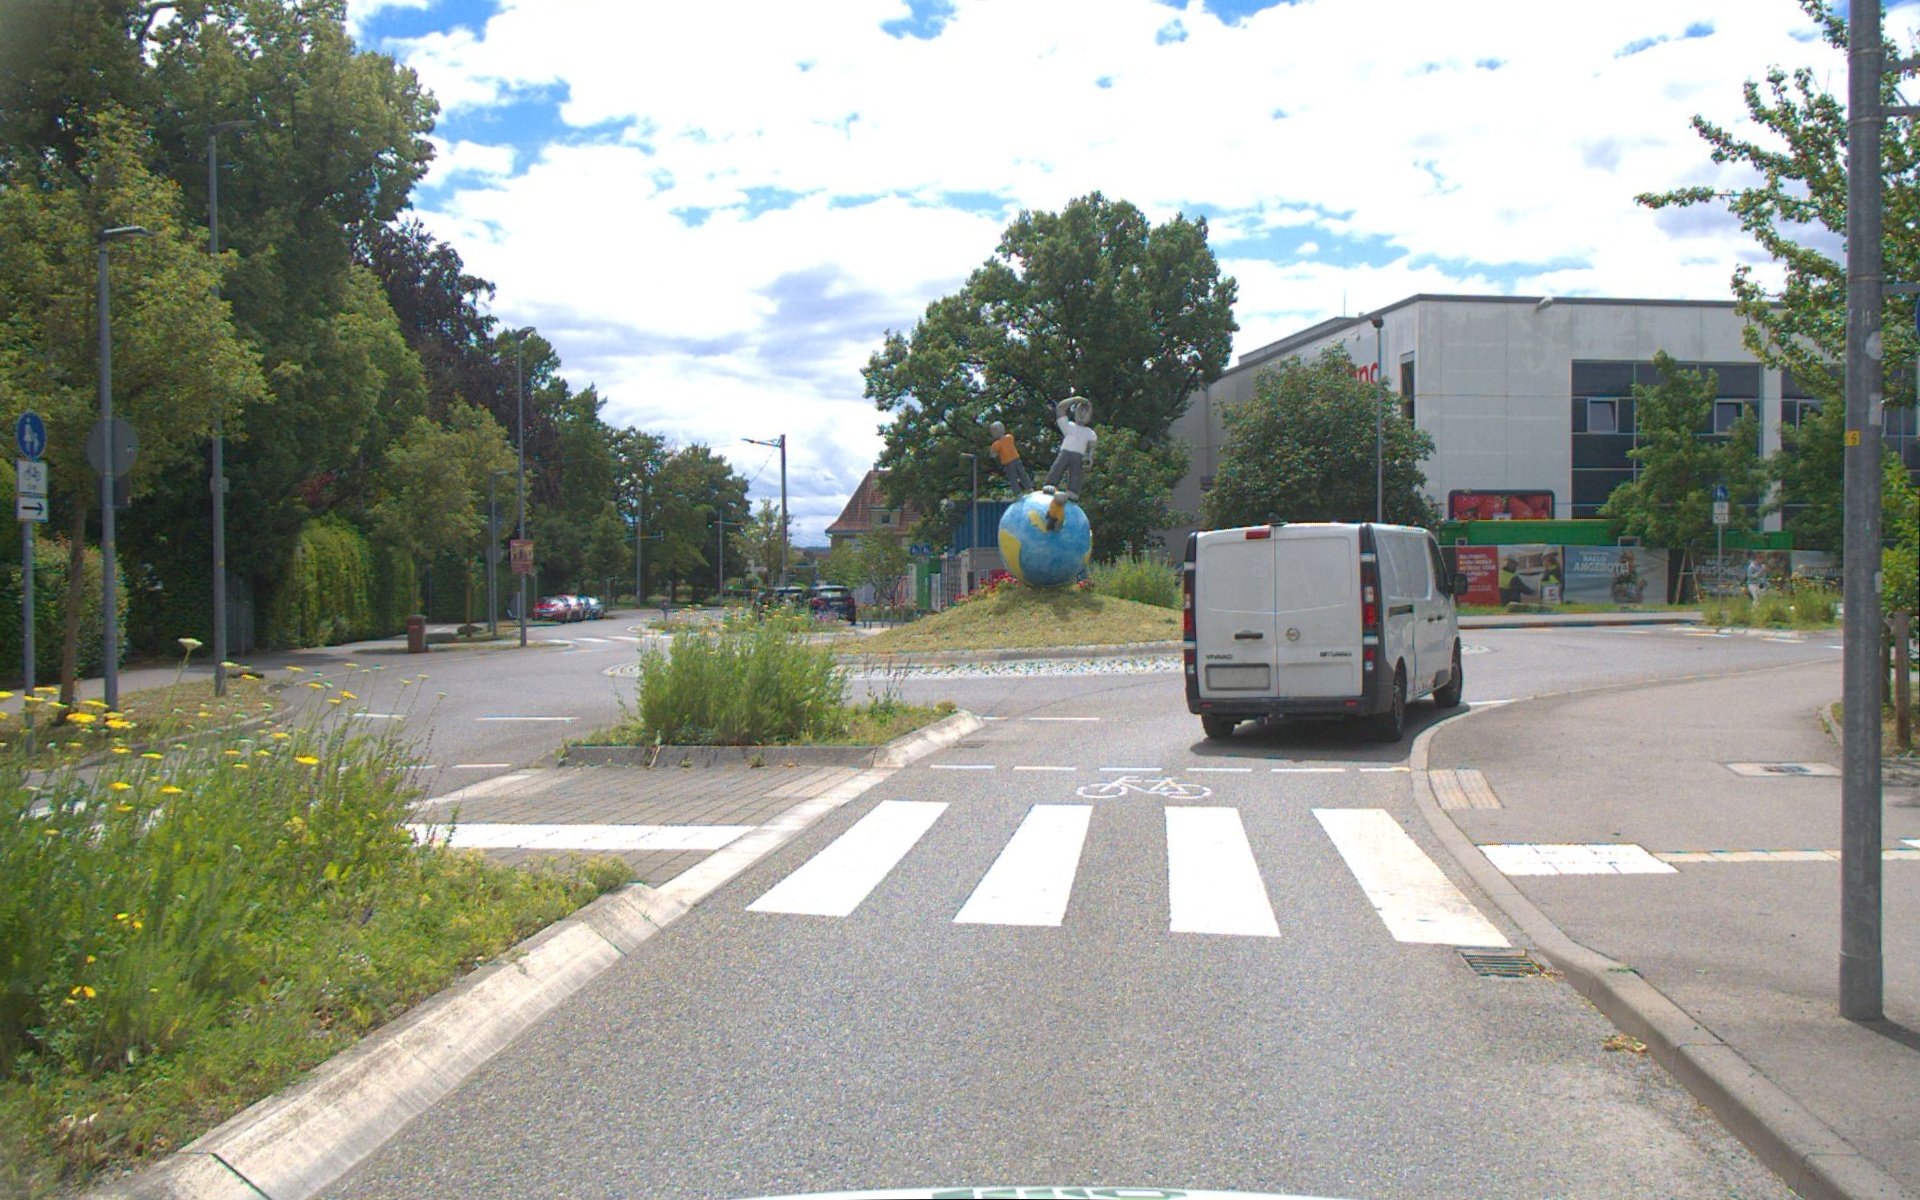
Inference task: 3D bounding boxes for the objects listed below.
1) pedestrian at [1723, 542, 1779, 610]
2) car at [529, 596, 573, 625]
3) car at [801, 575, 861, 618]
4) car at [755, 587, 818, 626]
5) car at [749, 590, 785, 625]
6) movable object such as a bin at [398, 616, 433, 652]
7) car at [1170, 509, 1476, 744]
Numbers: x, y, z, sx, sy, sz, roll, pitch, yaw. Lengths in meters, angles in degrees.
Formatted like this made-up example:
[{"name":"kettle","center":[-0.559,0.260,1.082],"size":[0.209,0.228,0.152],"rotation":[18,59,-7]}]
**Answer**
[{"name":"pedestrian","center":[18.682,-0.564,39.061],"size":[1.017,1.568,0.891],"rotation":[2,1,38]},{"name":"car","center":[-21.731,0.528,87.727],"size":[2.031,1.410,4.028],"rotation":[-1,2,-18]},{"name":"car","center":[-5.008,-0.177,63.970],"size":[1.898,1.564,3.915],"rotation":[0,1,-11]},{"name":"car","center":[-7.539,0.253,71.567],"size":[1.890,1.526,3.903],"rotation":[-1,2,-19]},{"name":"car","center":[-10.436,0.392,89.456],"size":[1.861,1.775,3.919],"rotation":[0,1,-7]},{"name":"movable object such as a bin","center":[-13.611,0.847,41.340],"size":[0.617,0.878,0.640],"rotation":[-2,1,2]},{"name":"car","center":[3.836,0.188,16.682],"size":[1.994,1.979,4.990],"rotation":[2,1,24]}]
